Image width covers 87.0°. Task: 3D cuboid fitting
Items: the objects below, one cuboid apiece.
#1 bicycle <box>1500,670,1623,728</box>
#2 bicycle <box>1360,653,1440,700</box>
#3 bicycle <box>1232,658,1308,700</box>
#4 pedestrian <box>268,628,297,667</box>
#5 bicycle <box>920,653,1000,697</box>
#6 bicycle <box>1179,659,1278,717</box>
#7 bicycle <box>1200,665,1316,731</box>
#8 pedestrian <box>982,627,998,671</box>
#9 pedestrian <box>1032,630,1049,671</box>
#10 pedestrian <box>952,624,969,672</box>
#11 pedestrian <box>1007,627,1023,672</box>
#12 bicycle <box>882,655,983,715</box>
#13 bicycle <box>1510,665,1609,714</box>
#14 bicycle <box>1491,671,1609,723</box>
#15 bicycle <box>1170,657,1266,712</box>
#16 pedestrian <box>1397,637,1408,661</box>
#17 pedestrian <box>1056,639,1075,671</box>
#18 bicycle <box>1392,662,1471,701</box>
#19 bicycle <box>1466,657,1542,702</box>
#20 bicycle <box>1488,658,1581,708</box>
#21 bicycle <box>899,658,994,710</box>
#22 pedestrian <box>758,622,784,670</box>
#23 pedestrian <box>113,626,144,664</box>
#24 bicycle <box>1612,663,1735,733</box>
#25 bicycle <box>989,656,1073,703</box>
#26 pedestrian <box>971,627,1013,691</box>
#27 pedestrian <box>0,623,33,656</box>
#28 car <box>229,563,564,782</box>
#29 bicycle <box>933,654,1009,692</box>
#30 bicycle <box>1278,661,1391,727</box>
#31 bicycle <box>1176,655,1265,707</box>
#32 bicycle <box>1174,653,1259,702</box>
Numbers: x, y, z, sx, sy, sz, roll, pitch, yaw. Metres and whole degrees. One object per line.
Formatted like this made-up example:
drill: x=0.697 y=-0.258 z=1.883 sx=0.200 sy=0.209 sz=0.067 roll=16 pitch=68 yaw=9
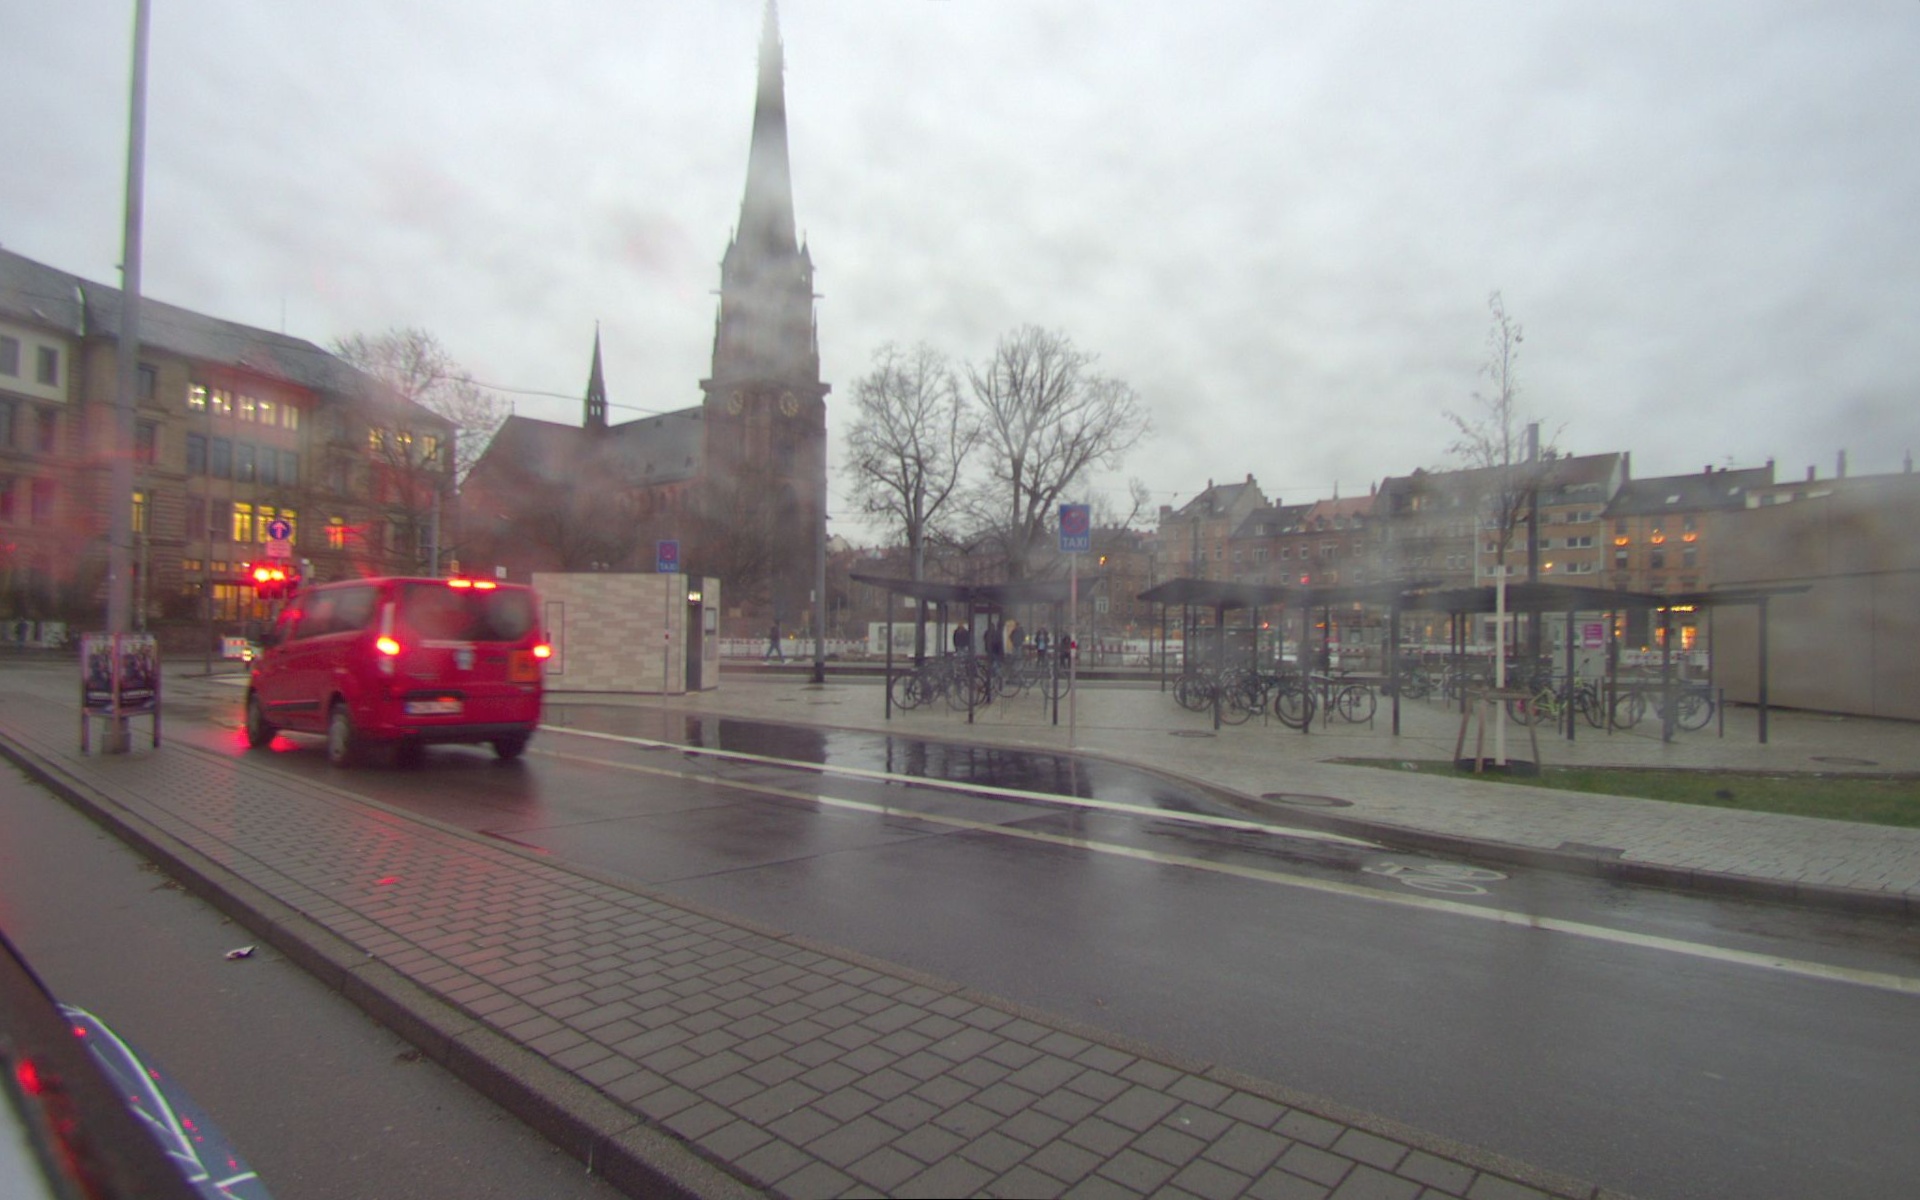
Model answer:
bicycle: x=11.131 y=1.822 z=18.770 sx=1.905 sy=0.983 sz=0.473 roll=1 pitch=-1 yaw=11
bicycle: x=11.190 y=1.933 z=25.788 sx=1.780 sy=1.116 sz=0.473 roll=1 pitch=-1 yaw=11
bicycle: x=7.668 y=1.950 z=25.056 sx=1.729 sy=0.946 sz=0.474 roll=1 pitch=-1 yaw=7
pedestrian: x=-33.998 y=2.365 z=50.795 sx=0.961 sy=1.915 sz=0.673 roll=1 pitch=-2 yaw=5
bicycle: x=-0.009 y=1.836 z=24.856 sx=1.905 sy=0.993 sz=0.473 roll=1 pitch=-1 yaw=11
bicycle: x=5.450 y=1.782 z=20.604 sx=1.905 sy=1.078 sz=0.473 roll=1 pitch=-1 yaw=11
bicycle: x=5.261 y=1.727 z=17.942 sx=1.905 sy=1.078 sz=0.473 roll=1 pitch=-1 yaw=11
pedestrian: x=1.155 y=1.869 z=38.638 sx=0.556 sy=1.664 sz=0.540 roll=-1 pitch=0 yaw=-1
pedestrian: x=3.041 y=1.920 z=38.318 sx=0.580 sy=1.513 sz=0.675 roll=-1 pitch=0 yaw=-1
pedestrian: x=0.011 y=1.812 z=38.565 sx=0.619 sy=1.808 sz=0.672 roll=-1 pitch=0 yaw=-1
pedestrian: x=2.075 y=1.865 z=38.100 sx=0.543 sy=1.648 sz=0.571 roll=-1 pitch=0 yaw=-1
bicycle: x=-0.533 y=1.660 z=19.854 sx=1.905 sy=1.078 sz=0.473 roll=1 pitch=-1 yaw=11
bicycle: x=12.906 y=1.928 z=21.816 sx=1.751 sy=0.963 sz=0.473 roll=1 pitch=-1 yaw=11
bicycle: x=11.372 y=1.870 z=19.557 sx=1.905 sy=0.898 sz=0.473 roll=1 pitch=-1 yaw=11
bicycle: x=5.436 y=1.780 z=21.387 sx=1.899 sy=1.078 sz=0.474 roll=1 pitch=-1 yaw=2
pedestrian: x=38.758 y=4.293 z=88.646 sx=0.579 sy=2.029 sz=0.707 roll=3 pitch=-4 yaw=-40
pedestrian: x=3.988 y=2.082 z=38.310 sx=0.610 sy=1.165 sz=0.806 roll=-1 pitch=0 yaw=-1
bicycle: x=11.627 y=2.000 z=24.977 sx=1.672 sy=0.898 sz=0.474 roll=1 pitch=-1 yaw=5
bicycle: x=13.238 y=1.925 z=24.650 sx=1.551 sy=1.044 sz=0.521 roll=1 pitch=-1 yaw=1
bicycle: x=13.258 y=1.917 z=23.403 sx=1.810 sy=1.081 sz=0.473 roll=1 pitch=-1 yaw=8
bicycle: x=-0.282 y=1.741 z=21.091 sx=1.905 sy=0.993 sz=0.473 roll=1 pitch=-1 yaw=11
pedestrian: x=-7.212 y=1.744 z=38.690 sx=0.817 sy=1.808 sz=0.668 roll=-1 pitch=0 yaw=7
pedestrian: x=-41.504 y=2.242 z=50.522 sx=0.885 sy=1.830 sz=0.674 roll=1 pitch=-2 yaw=-1
bicycle: x=12.694 y=1.732 z=18.031 sx=1.731 sy=1.165 sz=0.617 roll=1 pitch=-1 yaw=2
bicycle: x=1.645 y=1.829 z=23.410 sx=1.905 sy=0.993 sz=0.473 roll=1 pitch=-1 yaw=11
pedestrian: x=0.928 y=1.677 z=28.727 sx=1.056 sy=1.778 sz=1.008 roll=0 pitch=-3 yaw=10
pedestrian: x=-50.472 y=2.096 z=54.139 sx=0.916 sy=1.737 sz=0.826 roll=0 pitch=-3 yaw=4
car: x=-6.759 y=0.779 z=11.918 sx=4.641 sy=2.086 sz=1.904 roll=-1 pitch=-4 yaw=41
bicycle: x=0.277 y=1.876 z=26.113 sx=1.905 sy=0.917 sz=0.473 roll=1 pitch=-1 yaw=11
bicycle: x=6.950 y=1.742 z=18.852 sx=1.905 sy=1.129 sz=0.473 roll=1 pitch=-1 yaw=11
bicycle: x=5.855 y=1.816 z=22.836 sx=1.905 sy=1.078 sz=0.473 roll=1 pitch=-1 yaw=11
bicycle: x=6.069 y=1.837 z=24.026 sx=1.905 sy=1.078 sz=0.473 roll=1 pitch=-1 yaw=11
